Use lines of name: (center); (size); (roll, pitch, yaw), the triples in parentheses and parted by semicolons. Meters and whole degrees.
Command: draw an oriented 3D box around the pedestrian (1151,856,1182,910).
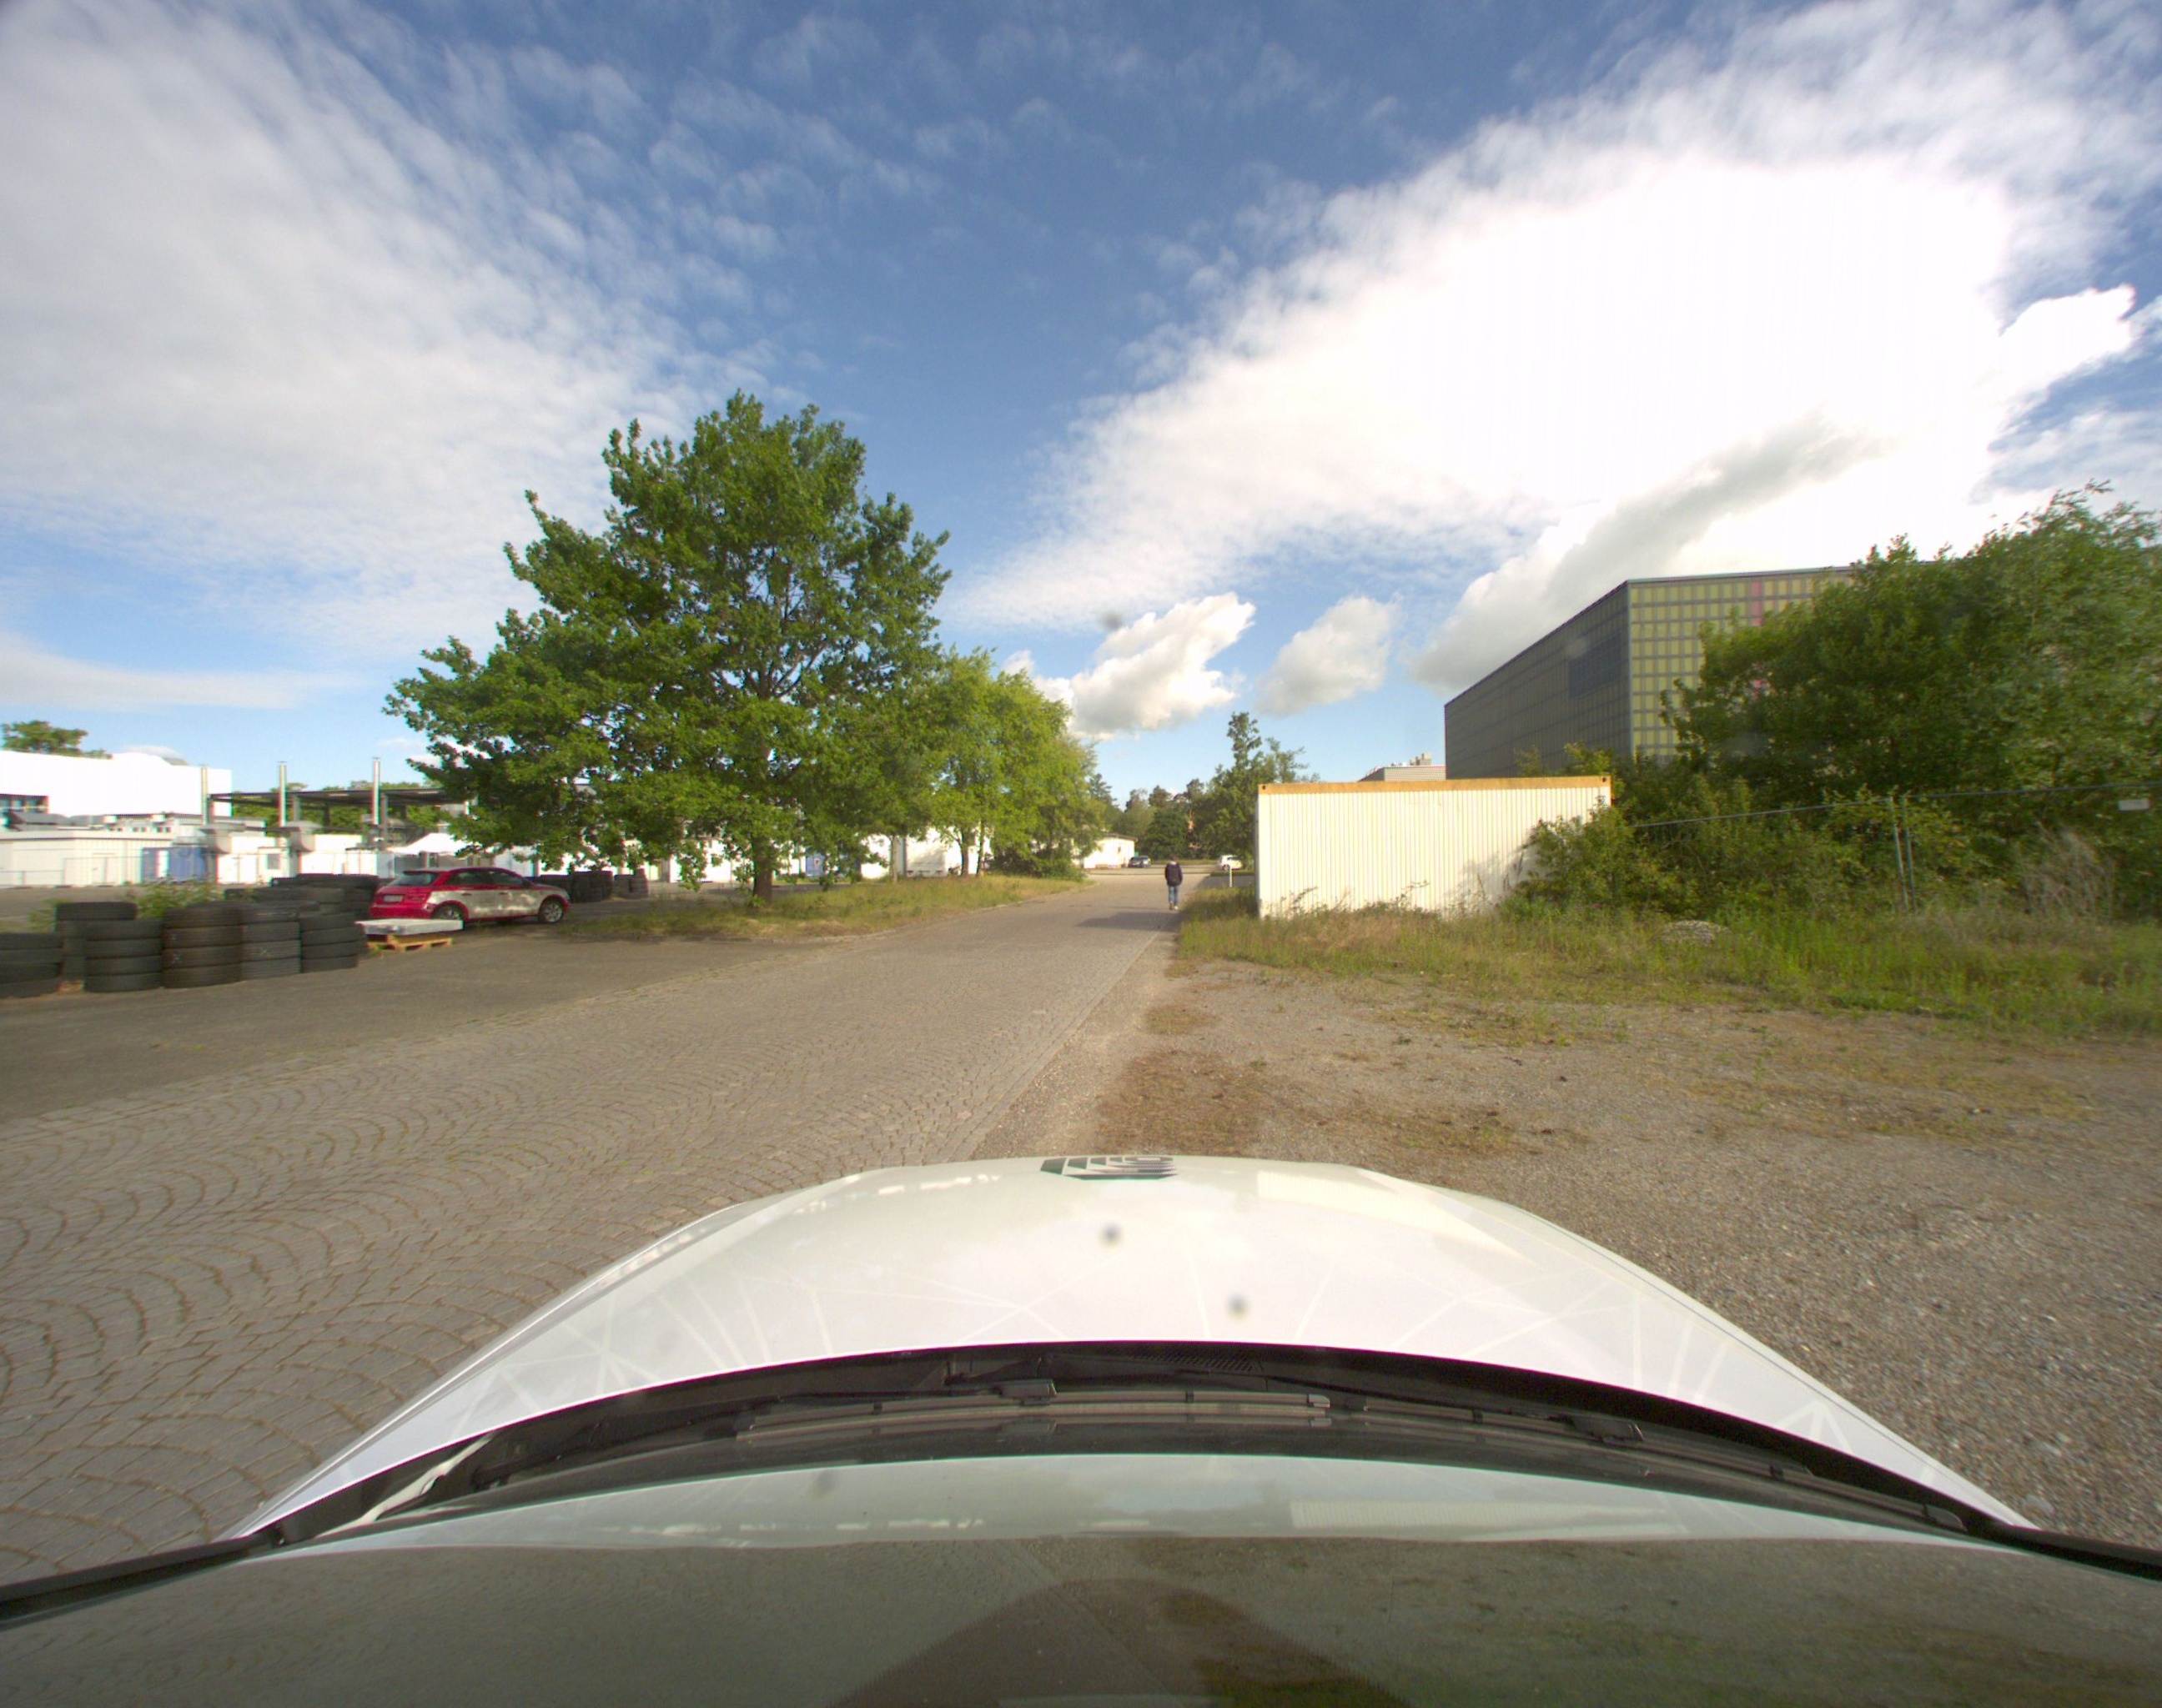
pedestrian: (2.527, 0.842, 24.135); (0.861, 1.559, 1.029); (-1, -1, 3)

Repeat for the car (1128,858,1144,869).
car: (7.171, 1.254, 106.785); (1.985, 1.371, 4.004); (-1, 0, 3)

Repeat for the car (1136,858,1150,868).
car: (8.856, 1.229, 116.955); (1.985, 1.376, 4.004); (-1, 0, 3)

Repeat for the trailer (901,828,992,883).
trailer: (-9.099, 0.125, 56.786); (2.898, 3.471, 9.932); (-1, 0, 11)

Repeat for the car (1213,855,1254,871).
car: (15.694, 0.925, 83.694); (3.958, 1.643, 2.008); (0, 0, 15)

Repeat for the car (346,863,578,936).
car: (-14.078, 0.965, 18.844); (1.709, 1.464, 4.017); (-1, 0, 17)

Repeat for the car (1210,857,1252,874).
car: (14.993, 1.136, 81.140); (3.958, 1.643, 2.008); (0, 0, 15)
